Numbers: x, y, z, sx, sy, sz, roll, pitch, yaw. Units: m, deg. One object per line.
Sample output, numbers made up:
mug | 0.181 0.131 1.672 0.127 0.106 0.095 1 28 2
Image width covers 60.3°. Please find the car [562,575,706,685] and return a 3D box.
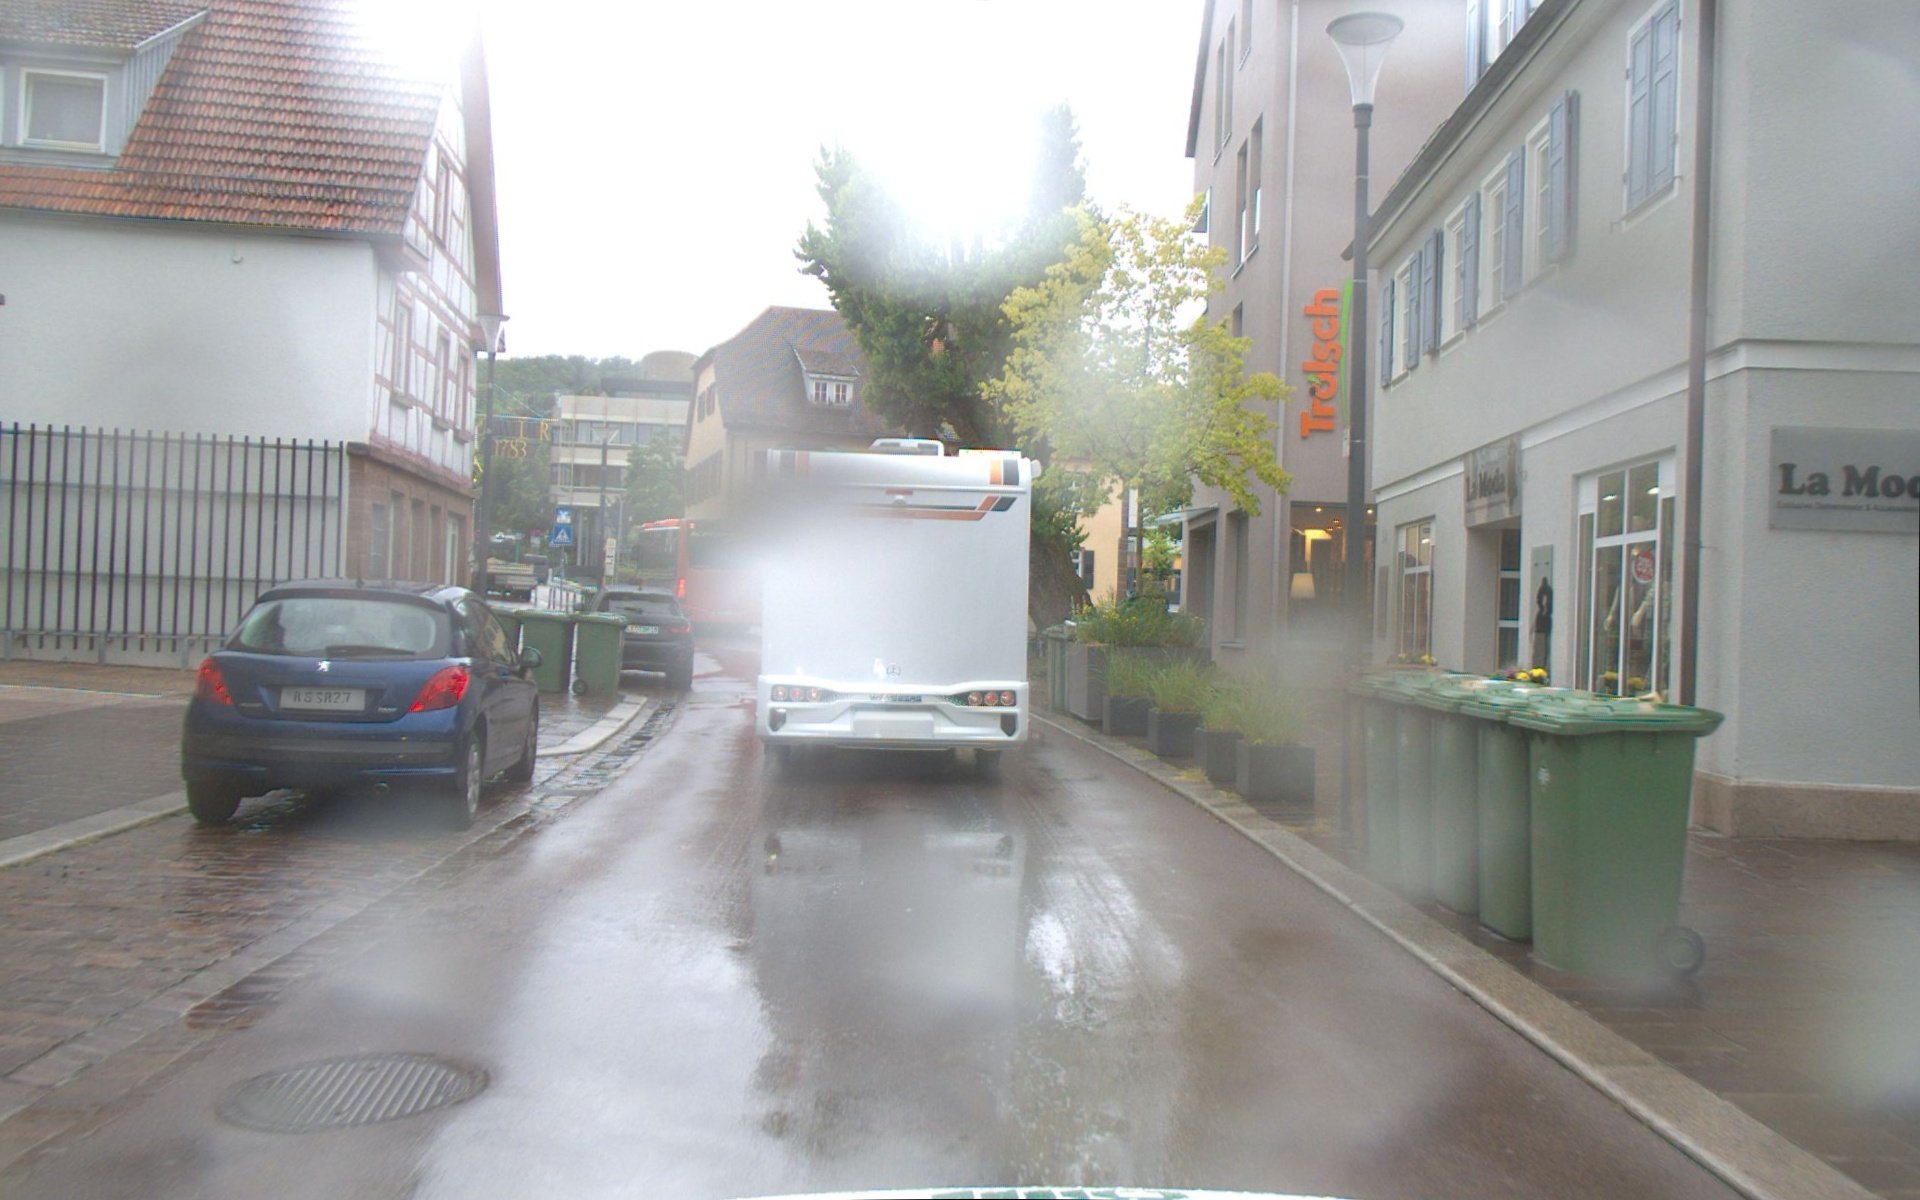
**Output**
car | -5.296 0.426 26.484 1.960 1.520 3.985 3 0 -15

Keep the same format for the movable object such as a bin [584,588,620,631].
movable object such as a bin | -9.023 0.238 41.655 0.805 1.069 0.696 2 -1 -17

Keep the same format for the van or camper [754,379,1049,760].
van or camper | -0.660 -0.188 16.351 2.280 2.970 6.387 1 -1 -4

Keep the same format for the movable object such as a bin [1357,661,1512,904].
movable object such as a bin | 2.606 0.986 9.120 0.664 1.272 0.564 1 -1 -2

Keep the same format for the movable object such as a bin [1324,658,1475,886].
movable object such as a bin | 2.579 0.992 9.773 0.664 1.262 0.731 1 -1 -2

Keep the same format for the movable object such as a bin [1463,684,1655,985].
movable object such as a bin | 2.675 1.029 7.426 0.645 1.267 0.542 1 -1 -2

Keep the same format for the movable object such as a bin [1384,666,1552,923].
movable object such as a bin | 2.612 0.982 8.544 0.664 1.254 0.564 1 -1 -2

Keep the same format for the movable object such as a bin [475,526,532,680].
movable object such as a bin | -6.205 0.042 22.512 0.618 2.049 0.745 2 -1 -10

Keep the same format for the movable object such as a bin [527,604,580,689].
movable object such as a bin | -5.622 0.636 22.910 0.618 1.142 0.732 2 -1 -10

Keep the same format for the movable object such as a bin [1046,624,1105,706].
movable object such as a bin | 1.598 0.890 22.884 0.714 1.099 0.576 1 -1 -5

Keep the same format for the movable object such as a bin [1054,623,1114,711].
movable object such as a bin | 1.615 0.870 21.640 0.679 1.121 0.561 1 -1 -5

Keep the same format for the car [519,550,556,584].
car | -27.450 -2.131 107.282 1.964 2.049 3.977 2 -1 -19

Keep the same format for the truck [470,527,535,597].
truck | -20.065 -1.599 72.417 2.246 2.806 5.536 2 -1 -20

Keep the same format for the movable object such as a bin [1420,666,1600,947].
movable object such as a bin | 2.640 0.974 7.981 0.664 1.278 0.542 1 -1 -2

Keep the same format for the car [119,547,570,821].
car | -3.973 0.479 11.448 1.955 1.497 3.994 2 0 -7

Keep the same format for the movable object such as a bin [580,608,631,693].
movable object such as a bin | -4.881 0.686 22.786 0.618 1.142 0.732 2 -1 -10

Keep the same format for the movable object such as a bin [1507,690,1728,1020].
movable object such as a bin | 2.700 1.023 6.840 0.645 1.260 0.621 1 -1 -2

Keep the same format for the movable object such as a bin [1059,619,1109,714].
movable object such as a bin | 1.576 0.837 21.048 0.533 1.176 0.576 1 -1 -4

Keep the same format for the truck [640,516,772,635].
truck | -7.106 -0.605 45.622 2.425 2.990 6.161 2 -1 -20

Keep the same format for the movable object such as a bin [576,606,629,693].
movable object such as a bin | -4.757 0.654 22.017 0.618 1.133 0.732 2 -1 -10

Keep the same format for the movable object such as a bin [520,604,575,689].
movable object such as a bin | -5.511 0.615 22.126 0.618 1.070 0.732 2 3 -10
